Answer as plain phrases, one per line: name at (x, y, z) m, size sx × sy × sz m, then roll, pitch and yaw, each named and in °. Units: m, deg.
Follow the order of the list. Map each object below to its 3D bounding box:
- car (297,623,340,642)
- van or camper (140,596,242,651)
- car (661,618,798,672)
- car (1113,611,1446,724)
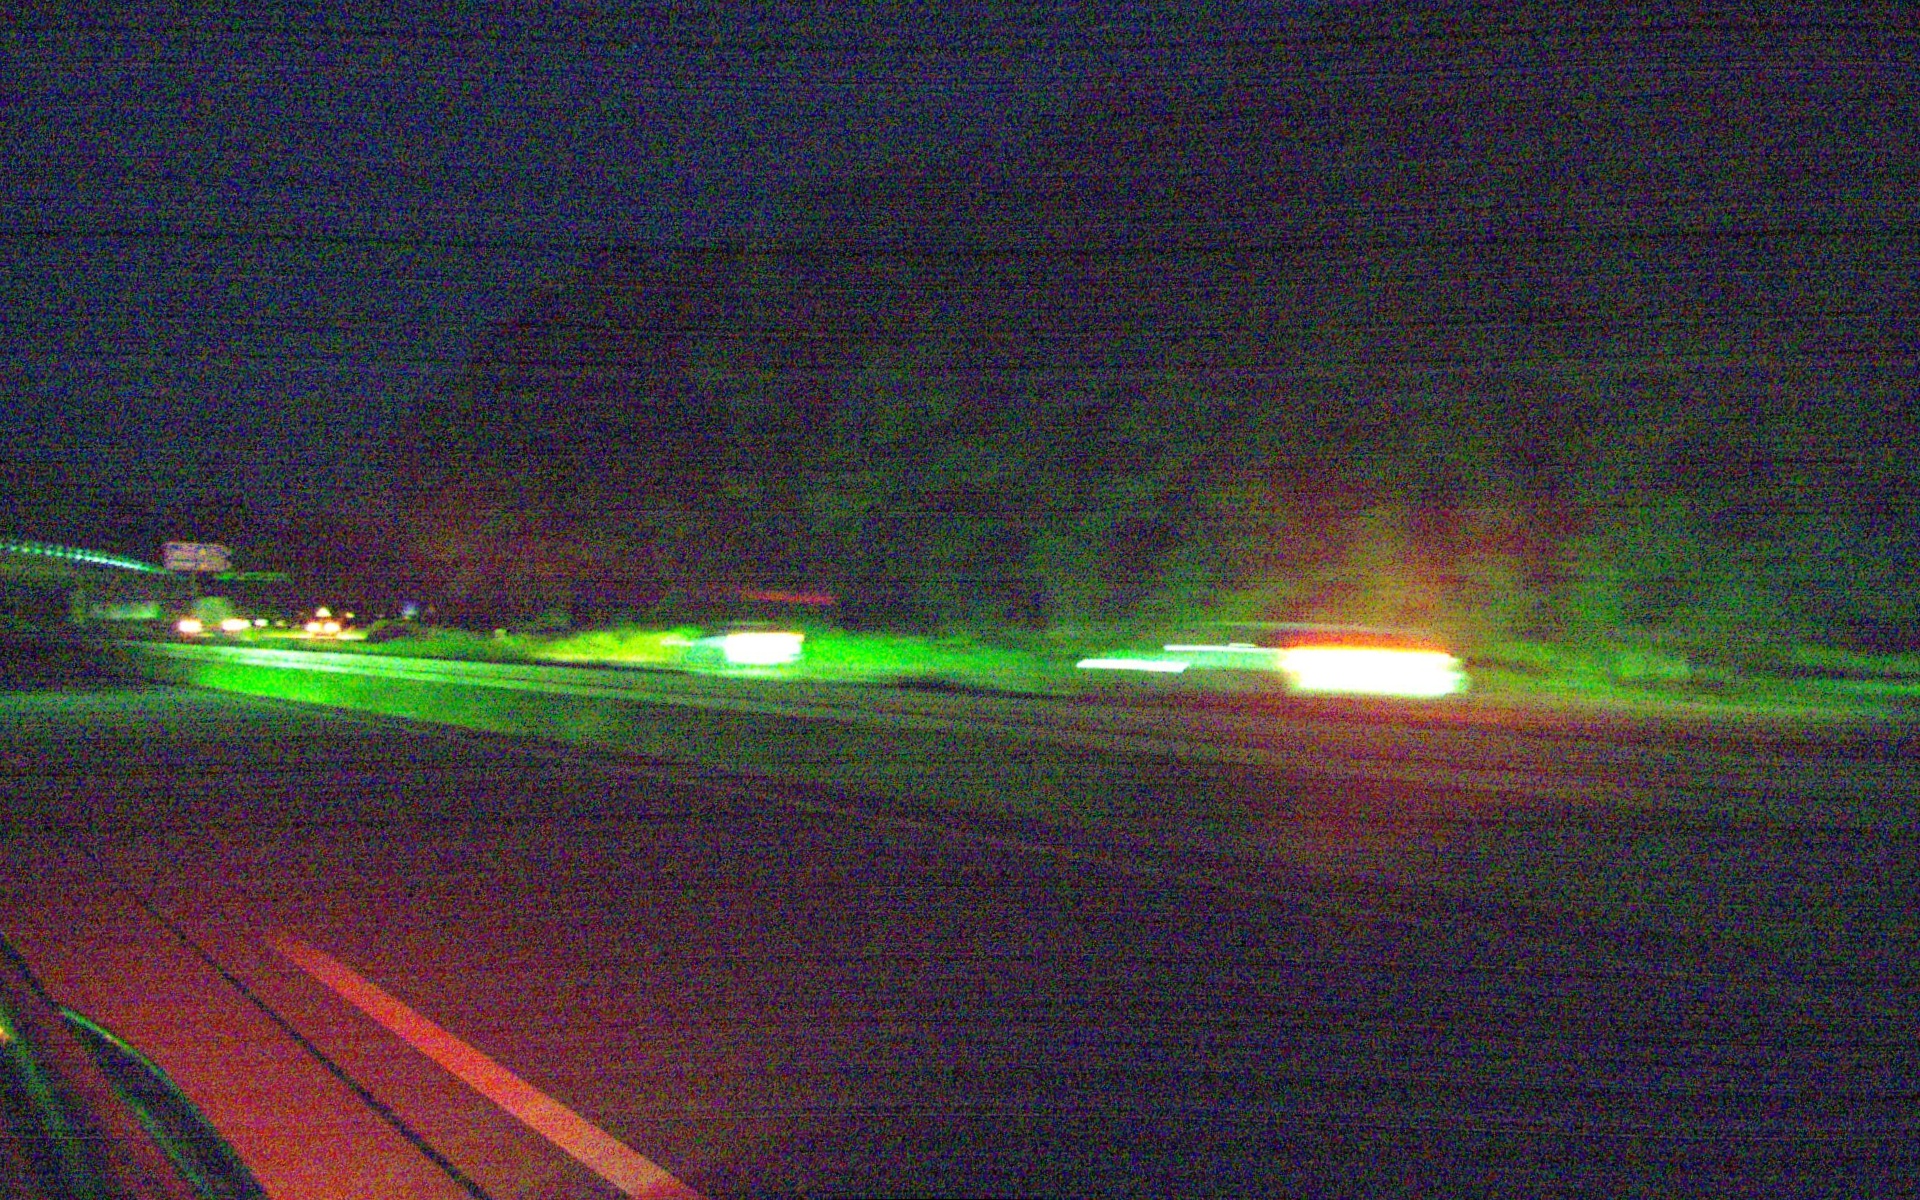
car at (-50.176, 2.512, 79.093) m, size 4.476 × 1.453 × 1.801 m, roll -2°, pitch -3°, yaw 44°
van or camper at (-39.538, 1.199, 51.931) m, size 7.654 × 2.637 × 2.273 m, roll -1°, pitch -2°, yaw 38°
car at (-6.800, 1.276, 29.676) m, size 4.171 × 1.468 × 1.936 m, roll -1°, pitch -2°, yaw 44°
car at (4.732, 0.938, 15.429) m, size 4.472 × 1.468 × 1.936 m, roll -1°, pitch -2°, yaw 44°
